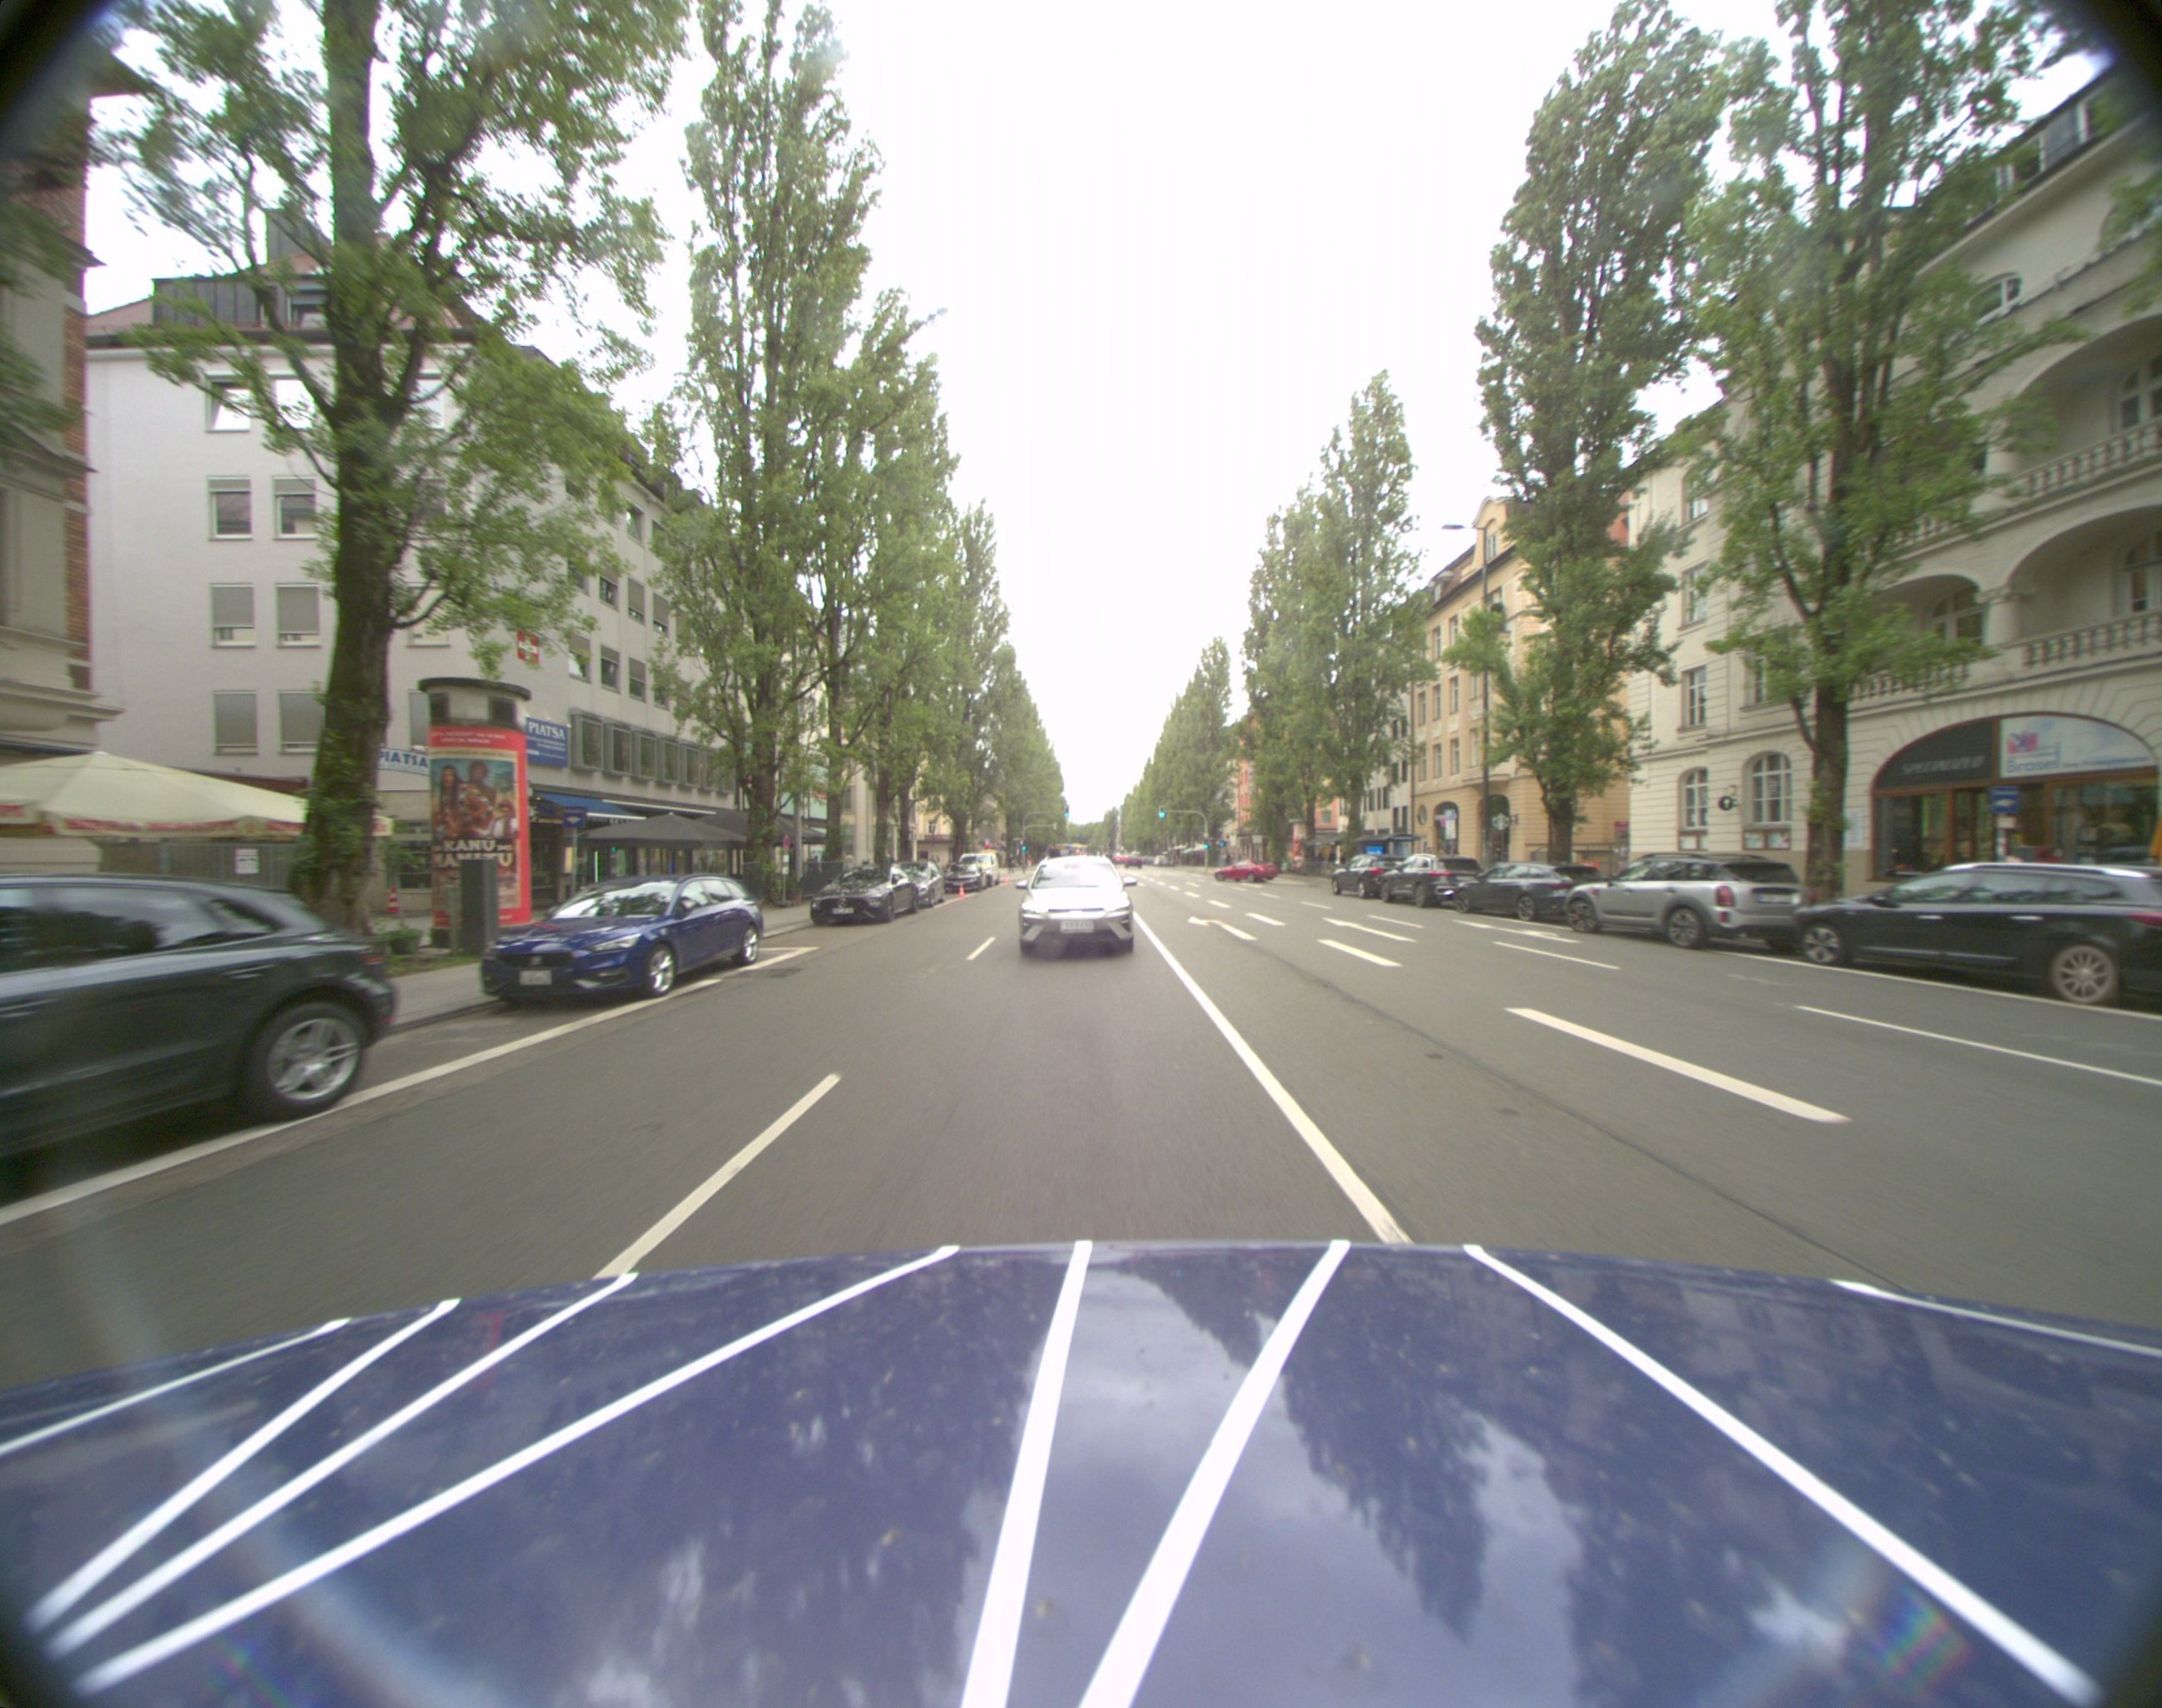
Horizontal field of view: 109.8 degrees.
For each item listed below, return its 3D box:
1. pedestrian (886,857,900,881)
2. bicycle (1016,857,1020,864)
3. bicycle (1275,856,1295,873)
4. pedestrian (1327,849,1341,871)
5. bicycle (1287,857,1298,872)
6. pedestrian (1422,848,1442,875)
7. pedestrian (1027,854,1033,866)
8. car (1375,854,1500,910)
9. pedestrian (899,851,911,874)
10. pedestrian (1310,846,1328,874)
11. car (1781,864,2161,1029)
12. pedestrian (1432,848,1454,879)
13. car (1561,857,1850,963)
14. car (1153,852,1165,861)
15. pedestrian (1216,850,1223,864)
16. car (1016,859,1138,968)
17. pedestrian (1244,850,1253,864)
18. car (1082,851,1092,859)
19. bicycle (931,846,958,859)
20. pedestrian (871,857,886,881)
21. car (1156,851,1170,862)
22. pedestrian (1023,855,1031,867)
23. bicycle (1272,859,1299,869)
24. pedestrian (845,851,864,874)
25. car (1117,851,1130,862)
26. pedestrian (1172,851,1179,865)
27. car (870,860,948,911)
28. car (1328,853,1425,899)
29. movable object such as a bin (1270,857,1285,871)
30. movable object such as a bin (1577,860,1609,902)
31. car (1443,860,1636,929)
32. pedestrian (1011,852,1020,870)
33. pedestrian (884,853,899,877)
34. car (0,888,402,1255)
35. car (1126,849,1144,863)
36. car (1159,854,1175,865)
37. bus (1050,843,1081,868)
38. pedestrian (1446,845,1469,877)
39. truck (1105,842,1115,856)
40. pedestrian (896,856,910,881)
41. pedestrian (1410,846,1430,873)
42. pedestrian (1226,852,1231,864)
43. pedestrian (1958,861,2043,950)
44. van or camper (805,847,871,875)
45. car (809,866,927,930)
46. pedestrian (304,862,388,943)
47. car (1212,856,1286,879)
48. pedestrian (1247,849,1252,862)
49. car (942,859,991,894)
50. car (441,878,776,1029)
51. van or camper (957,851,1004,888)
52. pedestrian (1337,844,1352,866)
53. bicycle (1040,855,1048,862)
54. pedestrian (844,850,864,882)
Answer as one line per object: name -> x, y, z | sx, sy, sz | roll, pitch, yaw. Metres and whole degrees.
pedestrian -> -13.805, 1.081, 55.774 | 0.752, 1.748, 0.859 | 0, 3, 2
bicycle -> -8.746, 0.888, 105.997 | 0.510, 1.042, 1.770 | 0, 0, -2
bicycle -> 15.982, 0.811, 59.541 | 1.958, 1.282, 0.507 | -3, 1, -42
pedestrian -> 20.073, 0.450, 60.353 | 0.729, 1.730, 0.942 | -2, 1, 0
bicycle -> 16.084, 0.792, 57.833 | 0.507, 1.082, 1.812 | -1, 1, 24
pedestrian -> 21.224, 0.454, 45.983 | 0.752, 1.558, 0.989 | -2, 1, 2
pedestrian -> -6.738, 0.744, 99.979 | 0.767, 1.600, 0.864 | 0, 1, -3
car -> 11.080, 0.804, 24.015 | 1.807, 1.585, 4.630 | 0, 0, 0
pedestrian -> -14.018, 0.689, 60.537 | 0.820, 1.807, 0.890 | 0, 1, -1
pedestrian -> 15.932, 0.412, 50.803 | 0.908, 1.735, 0.820 | -4, 5, 5
car -> 11.113, 0.925, 9.007 | 1.667, 1.495, 4.313 | 2, 0, 1
pedestrian -> 20.239, 0.522, 42.501 | 0.734, 1.672, 0.977 | -2, 0, 0
car -> 10.839, 0.856, 13.671 | 1.786, 1.566, 4.132 | 1, 0, 0
car -> 12.377, 0.347, 120.542 | 1.497, 1.373, 4.186 | 1, 1, 0
pedestrian -> 17.136, 0.334, 94.029 | 0.726, 1.761, 0.778 | -1, 1, 2
car -> -0.060, 0.874, 12.955 | 1.758, 1.529, 3.916 | 0, 0, 0
pedestrian -> 18.732, 0.324, 84.971 | 0.780, 1.609, 0.934 | 0, 1, 0
car -> 1.318, 0.293, 162.530 | 2.052, 1.671, 4.586 | 1, 0, 0
bicycle -> -12.641, -0.143, 70.277 | 2.349, 1.245, 0.633 | -1, 1, 0
pedestrian -> -14.466, 1.058, 54.386 | 0.752, 1.708, 0.963 | -1, 0, 2
car -> 12.361, 0.375, 115.335 | 1.707, 1.574, 4.095 | 1, 1, 1
pedestrian -> -6.976, 0.945, 97.760 | 0.767, 1.509, 0.620 | 2, 4, 45
bicycle -> 16.846, 0.806, 62.592 | 1.956, 0.510, 0.826 | -2, 22, -17
pedestrian -> -16.689, 0.640, 56.013 | 0.985, 1.664, 0.826 | 0, 1, 12
car -> 7.247, 0.413, 128.684 | 1.918, 1.671, 4.586 | 1, 0, 0
pedestrian -> 12.344, 0.491, 99.268 | 0.736, 1.785, 0.994 | -2, 1, 19
car -> -5.616, 0.967, 25.348 | 1.822, 1.497, 4.231 | 0, 0, -3
car -> 11.189, 0.774, 29.137 | 1.825, 1.608, 4.715 | 0, 0, -1
movable object such as a bin -> 15.067, 0.774, 58.342 | 0.725, 1.035, 0.853 | -2, 1, -28
movable object such as a bin -> 16.042, 0.842, 23.828 | 0.606, 1.308, 0.586 | -1, 1, 1
car -> 11.173, 0.911, 18.990 | 1.689, 1.416, 4.686 | 1, 0, -5
pedestrian -> -6.443, 0.671, 74.566 | 0.710, 1.748, 0.752 | -1, 1, 2
pedestrian -> -13.374, 0.781, 53.637 | 0.752, 1.667, 0.963 | 0, 1, 2
car -> -5.867, 1.035, 3.190 | 1.999, 1.556, 4.483 | 0, 0, 0
car -> 6.654, 0.220, 94.086 | 1.940, 1.614, 4.336 | 1, 0, 0
car -> 12.102, 0.713, 107.287 | 1.707, 1.430, 4.589 | 1, 1, -1
bus -> -1.844, 0.172, 94.780 | 2.805, 2.886, 12.860 | 0, 0, 3
pedestrian -> 21.049, 0.388, 42.503 | 0.802, 1.777, 0.912 | -2, 1, 1
truck -> 7.768, -1.410, 202.073 | 2.469, 3.649, 8.438 | 0, 1, 0
pedestrian -> -13.028, 1.055, 55.706 | 0.752, 1.748, 0.859 | 0, 3, 2
pedestrian -> 20.419, 0.339, 45.795 | 0.752, 1.558, 0.989 | -2, 1, 2
pedestrian -> 20.432, 0.519, 105.279 | 0.631, 1.679, 0.519 | -2, 1, 2
pedestrian -> 16.625, 0.900, 13.753 | 0.685, 1.528, 0.789 | -2, 1, -20
van or camper -> -17.707, 0.512, 55.514 | 4.113, 1.856, 1.898 | -2, 1, 4
car -> -5.588, 1.082, 20.569 | 1.883, 1.424, 4.803 | 0, 0, -1
pedestrian -> -15.092, 0.964, 15.626 | 0.731, 1.600, 0.991 | 0, 1, 1
car -> 9.970, 0.771, 45.336 | 1.889, 1.290, 4.083 | -1, 0, -37
pedestrian -> 22.086, 0.232, 99.632 | 0.588, 1.681, 0.514 | 0, 1, 0
car -> -5.373, 1.031, 36.221 | 1.724, 1.434, 4.353 | -3, 0, -1
car -> -5.788, 1.102, 10.106 | 1.754, 1.397, 4.463 | 0, 0, -2
van or camper -> -5.508, 0.808, 42.201 | 1.873, 1.872, 4.902 | -1, 0, 0
pedestrian -> 21.389, 0.065, 61.652 | 0.845, 1.734, 0.954 | -2, 1, 1
bicycle -> -8.150, 0.955, 165.745 | 0.829, 1.403, 2.594 | -2, 0, -25
pedestrian -> -13.092, 0.664, 43.876 | 0.828, 1.830, 1.099 | 0, 1, 1
